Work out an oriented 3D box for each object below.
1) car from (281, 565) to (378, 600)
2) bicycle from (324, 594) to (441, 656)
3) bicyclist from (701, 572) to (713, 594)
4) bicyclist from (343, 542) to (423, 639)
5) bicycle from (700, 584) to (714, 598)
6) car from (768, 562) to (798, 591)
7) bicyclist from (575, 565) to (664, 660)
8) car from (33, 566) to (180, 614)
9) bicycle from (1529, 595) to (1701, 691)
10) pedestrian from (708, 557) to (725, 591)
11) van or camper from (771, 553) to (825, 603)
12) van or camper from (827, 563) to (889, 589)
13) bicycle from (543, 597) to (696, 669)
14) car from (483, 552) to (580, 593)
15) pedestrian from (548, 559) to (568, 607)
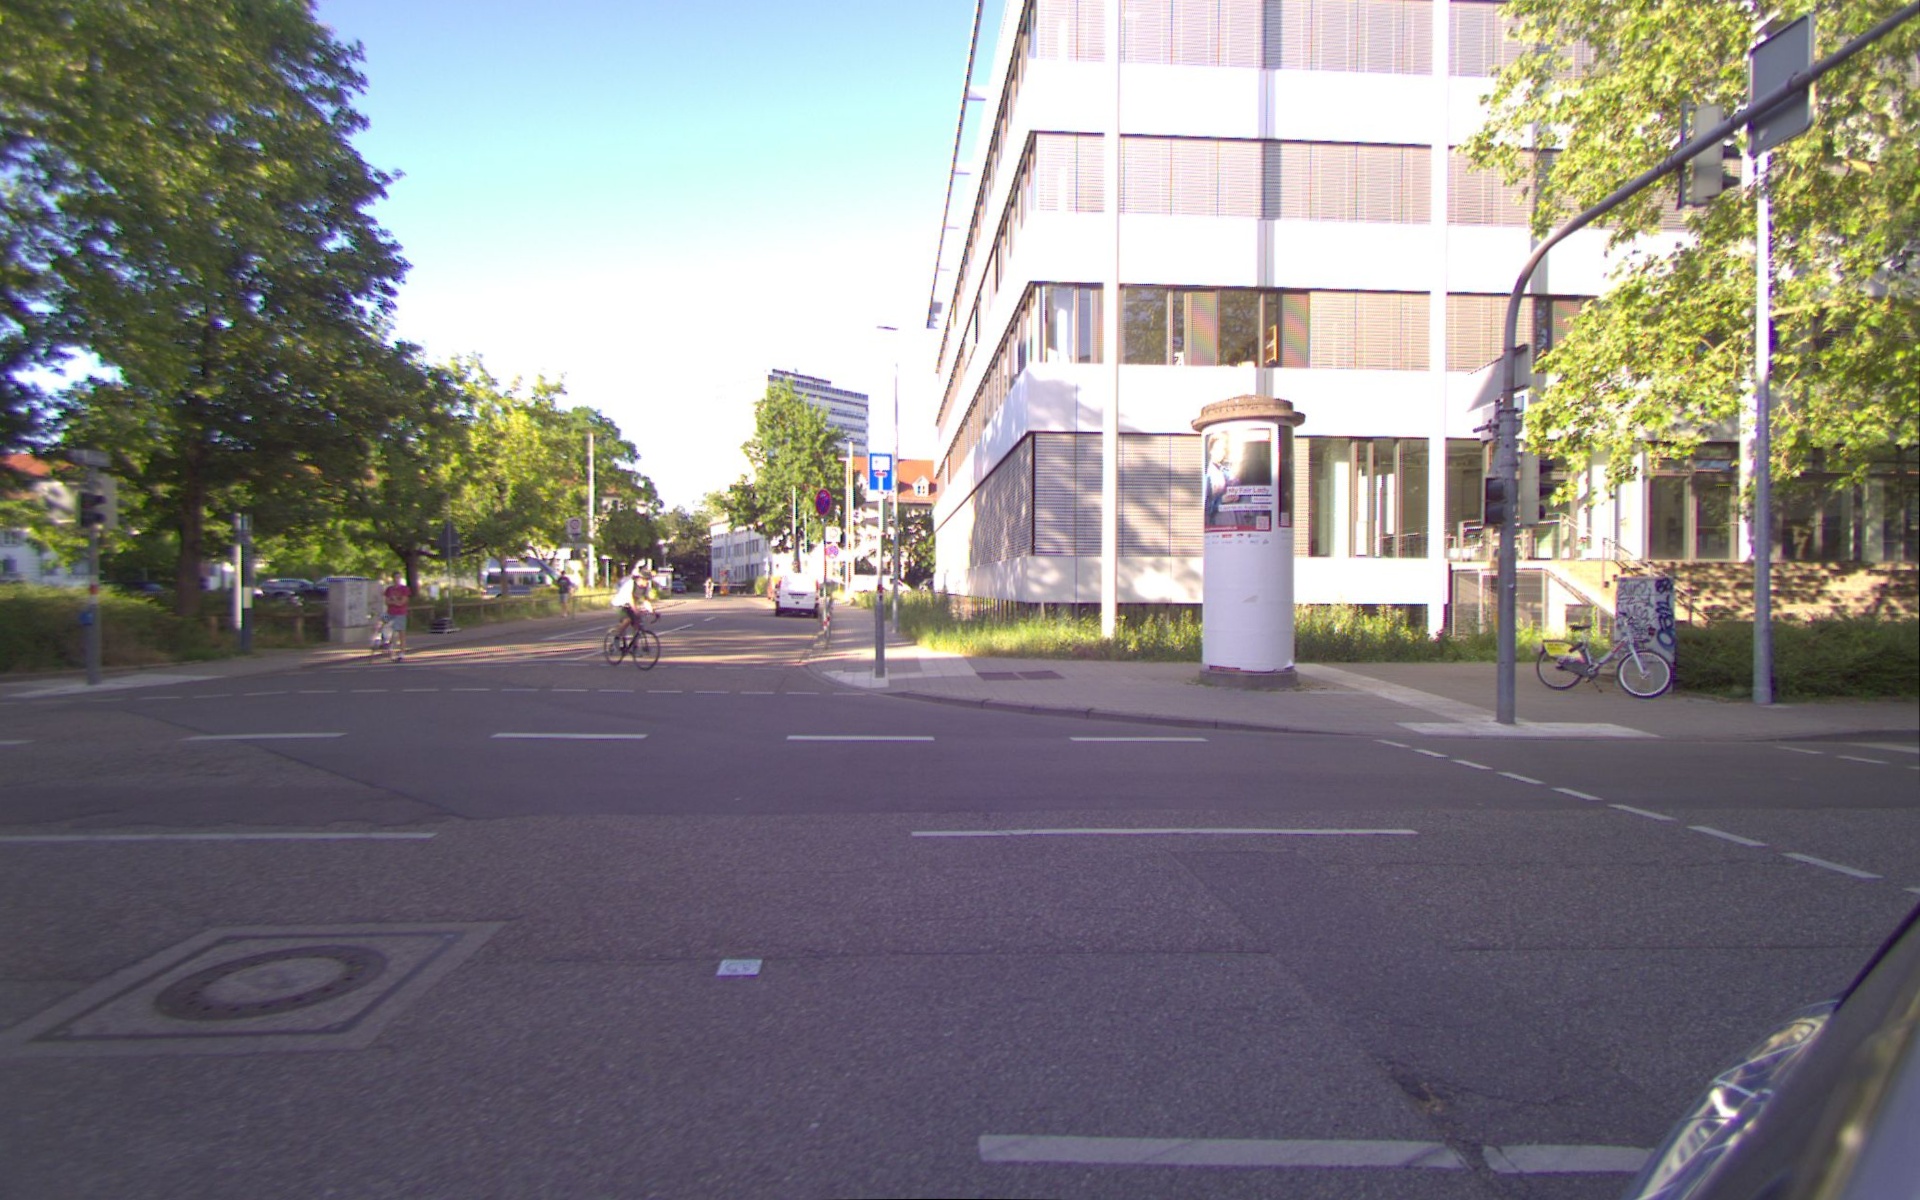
[{"bbox_3d":[-33.636,-0.939,54.102,3.920,1.801,2.002,0,1,-4],"label":"car"},{"bbox_3d":[-11.154,0.443,19.706,0.923,1.051,3.011,0,1,-8],"label":"bicycle"},{"bbox_3d":[-18.235,-1.225,72.974,0.746,1.612,0.903,0,1,-10],"label":"bicyclist"},{"bbox_3d":[-11.116,-0.194,19.533,0.958,1.830,1.133,0,1,-7],"label":"bicyclist"},{"bbox_3d":[-18.221,-0.683,72.933,0.746,0.961,3.063,0,1,-10],"label":"bicycle"},{"bbox_3d":[-13.057,-1.698,74.831,1.959,2.039,4.005,0,0,-8],"label":"car"},{"bbox_3d":[-5.940,0.194,17.684,1.115,1.564,0.944,3,2,27],"label":"bicyclist"},{"bbox_3d":[-32.906,-0.409,39.121,3.920,1.801,2.002,0,1,-4],"label":"car"},{"bbox_3d":[9.069,0.551,14.106,0.461,1.197,1.994,-1,2,-34],"label":"bicycle"},{"bbox_3d":[-24.402,-2.587,101.452,1.429,3.350,1.409,-1,1,-24],"label":"pedestrian"},{"bbox_3d":[-6.982,-0.966,43.976,2.119,2.038,4.984,0,2,-7],"label":"van or camper"},{"bbox_3d":[-8.179,-1.938,81.240,4.632,2.113,2.004,-1,1,-17],"label":"van or camper"},{"bbox_3d":[-5.961,0.539,17.693,2.635,1.064,0.973,3,2,27],"label":"bicycle"},{"bbox_3d":[-23.158,-1.482,54.861,4.472,2.140,2.004,0,1,-11],"label":"car"},{"bbox_3d":[-15.943,-0.688,40.152,0.654,1.878,1.028,0,1,-16],"label":"pedestrian"}]
